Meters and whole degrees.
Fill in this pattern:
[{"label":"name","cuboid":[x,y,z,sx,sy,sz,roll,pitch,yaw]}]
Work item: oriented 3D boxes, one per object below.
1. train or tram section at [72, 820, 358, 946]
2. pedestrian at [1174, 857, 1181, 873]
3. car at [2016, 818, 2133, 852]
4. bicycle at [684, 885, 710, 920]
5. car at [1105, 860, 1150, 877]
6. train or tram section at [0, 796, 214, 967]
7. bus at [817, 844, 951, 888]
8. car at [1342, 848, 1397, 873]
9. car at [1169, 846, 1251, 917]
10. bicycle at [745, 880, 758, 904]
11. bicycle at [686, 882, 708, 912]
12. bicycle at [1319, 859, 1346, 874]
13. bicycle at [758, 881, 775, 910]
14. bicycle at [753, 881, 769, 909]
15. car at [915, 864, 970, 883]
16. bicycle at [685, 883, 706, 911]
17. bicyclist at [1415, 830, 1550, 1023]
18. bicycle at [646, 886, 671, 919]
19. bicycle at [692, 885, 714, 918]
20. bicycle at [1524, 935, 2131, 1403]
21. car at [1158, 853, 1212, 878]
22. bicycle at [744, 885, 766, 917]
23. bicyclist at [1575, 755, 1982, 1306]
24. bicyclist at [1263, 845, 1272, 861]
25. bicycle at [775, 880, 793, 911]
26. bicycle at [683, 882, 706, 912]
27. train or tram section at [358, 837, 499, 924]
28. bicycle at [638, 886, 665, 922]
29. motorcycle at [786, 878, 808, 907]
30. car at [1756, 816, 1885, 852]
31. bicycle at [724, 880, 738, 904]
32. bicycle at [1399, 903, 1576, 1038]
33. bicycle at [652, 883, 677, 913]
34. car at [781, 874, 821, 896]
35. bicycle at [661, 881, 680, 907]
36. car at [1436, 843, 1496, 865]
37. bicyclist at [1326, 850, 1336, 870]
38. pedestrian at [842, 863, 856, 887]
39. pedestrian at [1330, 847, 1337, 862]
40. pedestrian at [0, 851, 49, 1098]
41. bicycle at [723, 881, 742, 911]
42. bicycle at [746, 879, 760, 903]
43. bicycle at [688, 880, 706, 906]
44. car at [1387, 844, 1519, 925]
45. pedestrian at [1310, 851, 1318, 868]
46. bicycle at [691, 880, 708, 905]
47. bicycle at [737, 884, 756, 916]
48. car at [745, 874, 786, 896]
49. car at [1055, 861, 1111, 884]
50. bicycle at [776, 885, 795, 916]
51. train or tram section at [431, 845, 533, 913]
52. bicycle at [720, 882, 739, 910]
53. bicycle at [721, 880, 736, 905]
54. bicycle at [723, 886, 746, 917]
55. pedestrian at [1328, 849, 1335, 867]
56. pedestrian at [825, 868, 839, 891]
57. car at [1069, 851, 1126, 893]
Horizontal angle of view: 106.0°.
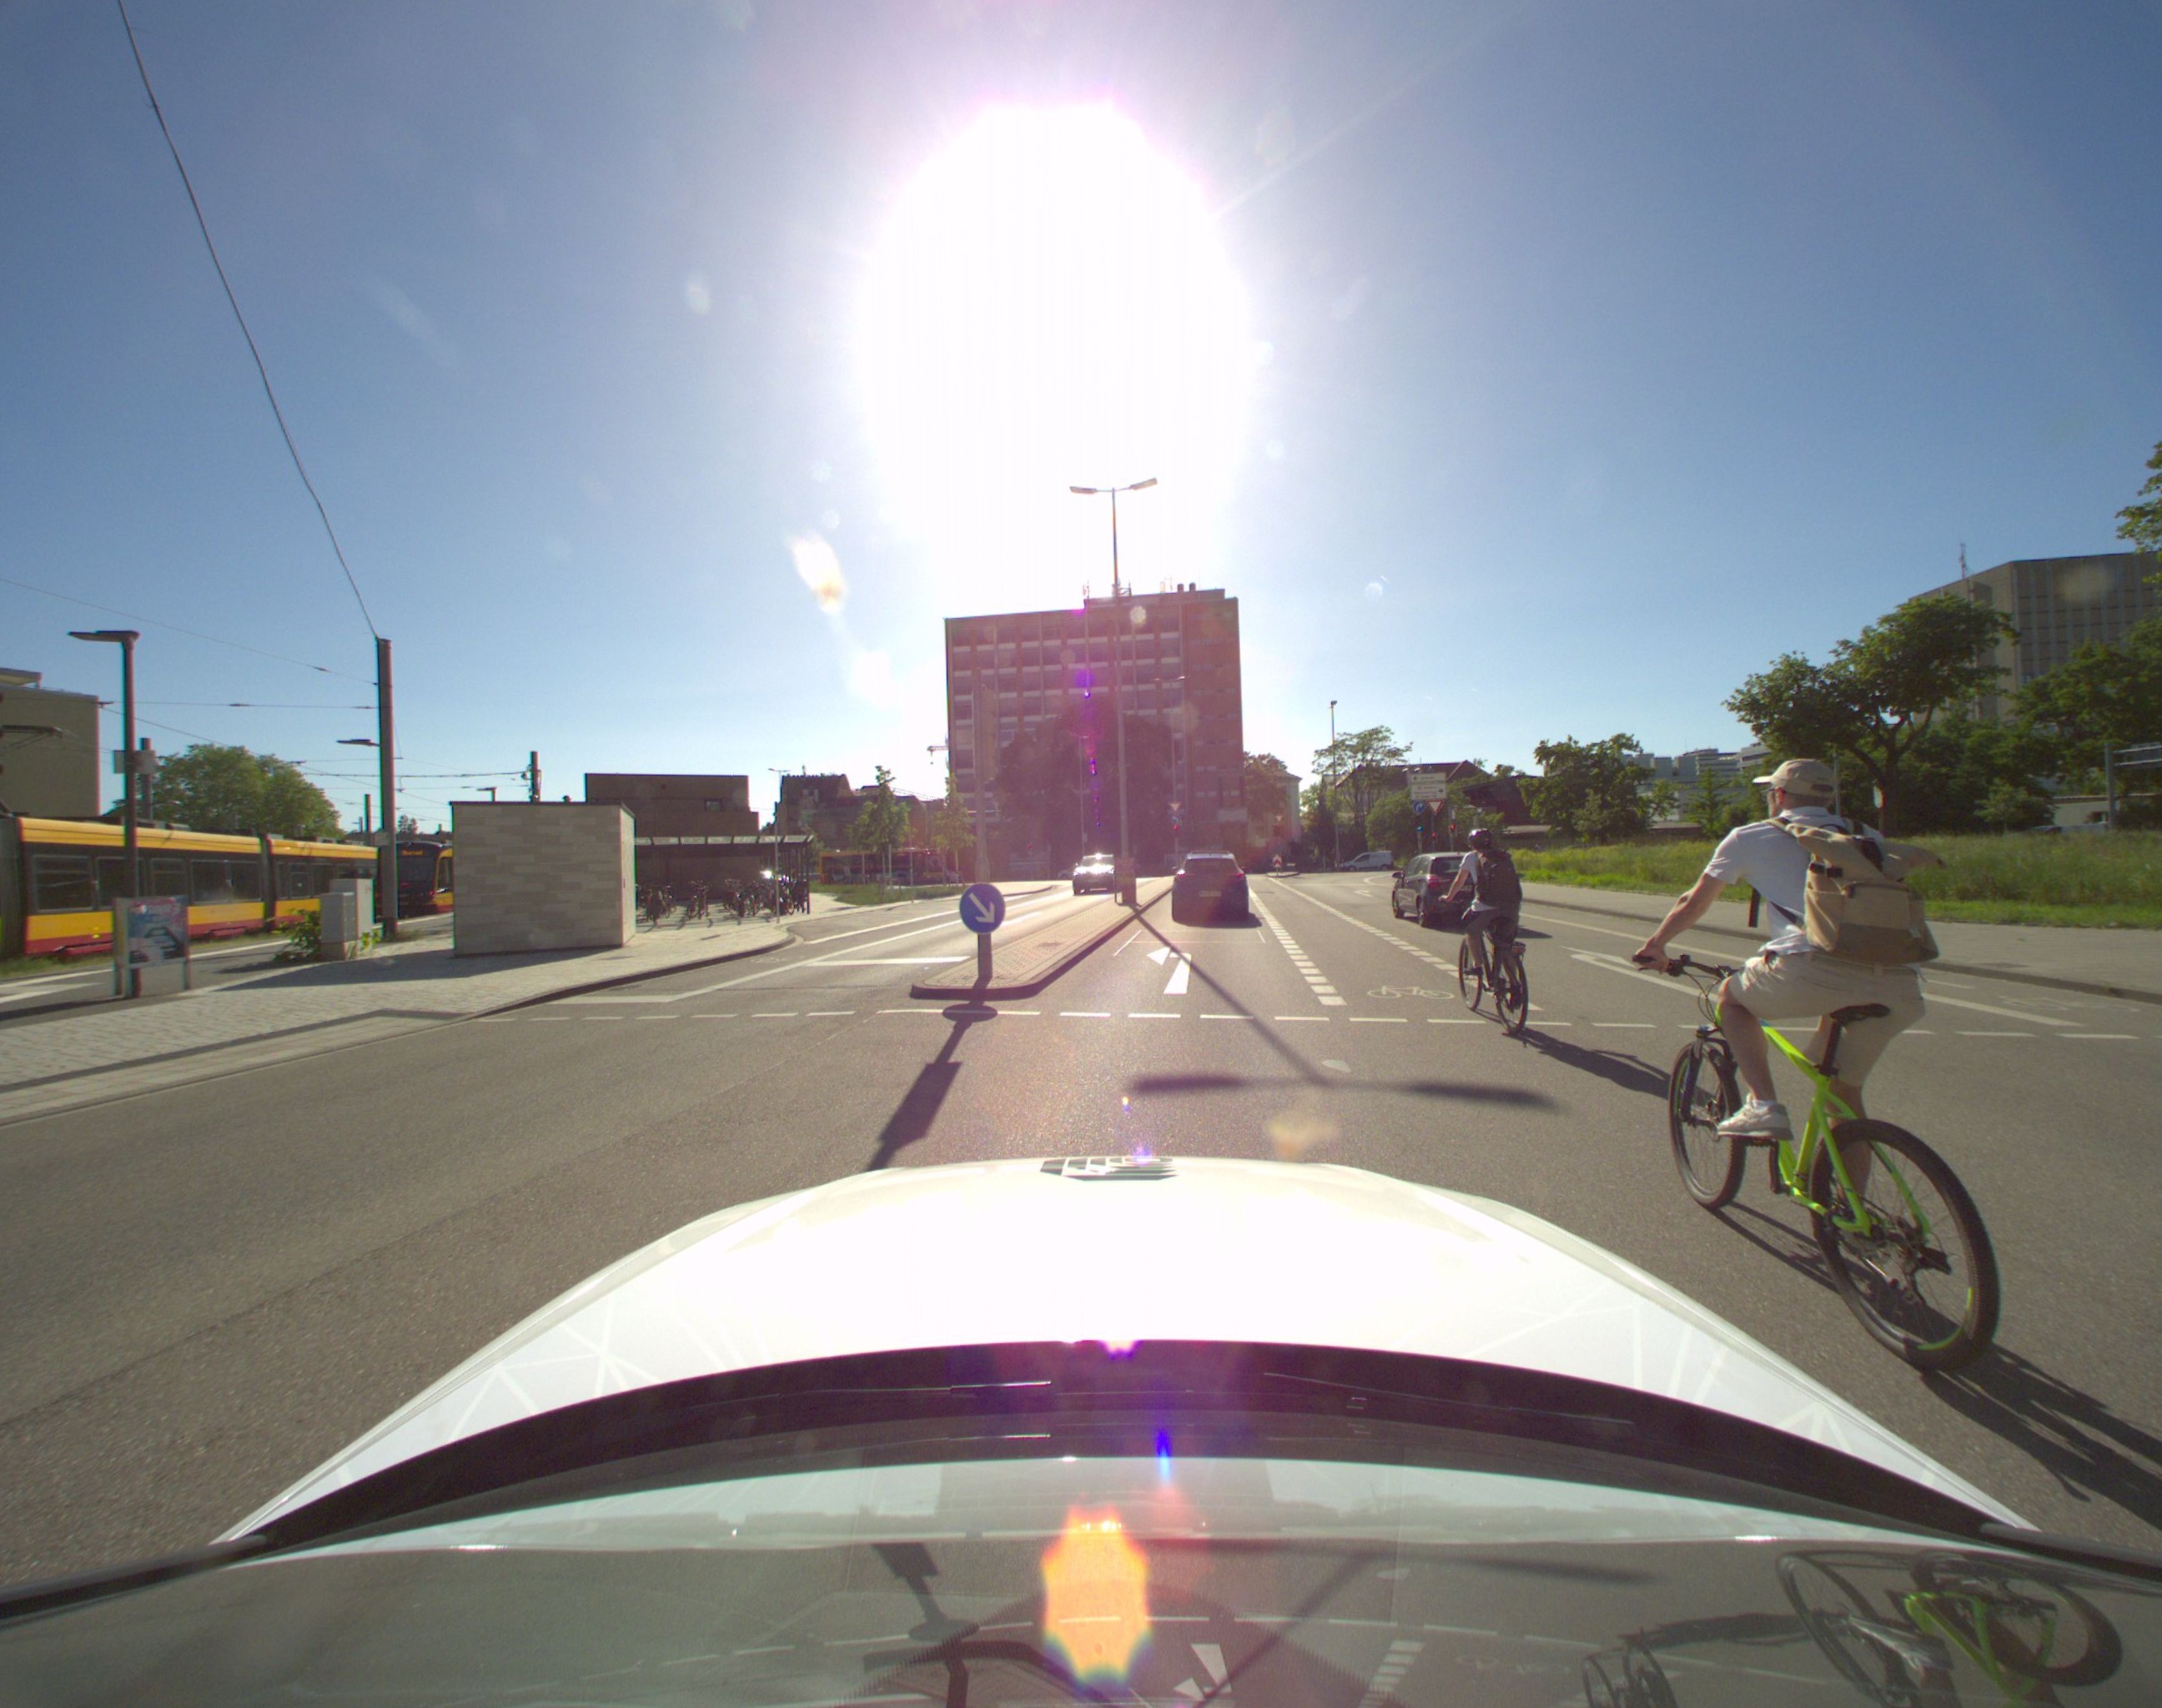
[{"label":"train or tram section","cuboid":[-29.196,0.909,28.393,2.830,3.508,11.117,0,-1,-25]},{"label":"pedestrian","cuboid":[9.968,1.147,84.036,0.555,1.670,0.479,-2,-2,25]},{"label":"car","cuboid":[71.606,-1.345,58.778,5.052,2.225,2.082,-2,0,15]},{"label":"bicycle","cuboid":[-12.057,1.510,25.600,0.582,1.058,1.803,0,-2,-20]},{"label":"car","cuboid":[4.427,1.395,78.052,3.862,1.586,1.889,-2,-2,20]},{"label":"train or tram section","cuboid":[-24.636,0.629,18.620,2.830,3.508,10.522,0,-1,-25]},{"label":"bus","cuboid":[-16.957,1.093,69.582,12.288,3.396,2.900,-2,-2,28]},{"label":"car","cuboid":[24.779,0.614,70.080,4.312,2.014,2.009,-2,-2,19]},{"label":"car","cuboid":[3.162,0.643,20.249,1.813,1.600,3.666,-1,-1,8]},{"label":"bicycle","cuboid":[-15.624,1.777,38.587,0.583,1.088,1.857,0,-2,-23]},{"label":"bicycle","cuboid":[-14.543,1.621,30.895,0.582,1.088,2.044,0,-2,-20]},{"label":"bicycle","cuboid":[24.227,1.213,78.477,2.431,1.370,0.855,-2,-2,18]},{"label":"bicycle","cuboid":[-12.270,1.606,31.778,0.582,1.088,2.044,0,-2,-20]},{"label":"bicycle","cuboid":[-13.267,1.692,33.796,0.582,1.088,2.002,0,-2,-20]},{"label":"car","cuboid":[-12.031,1.718,70.674,4.356,1.522,1.981,-2,-2,26]},{"label":"bicycle","cuboid":[-15.509,1.725,32.786,0.582,1.088,1.887,0,-2,-20]},{"label":"bicyclist","cuboid":[3.610,0.620,7.420,0.719,1.626,1.055,-1,-1,2]},{"label":"bicycle","cuboid":[-13.956,1.591,26.938,0.583,1.058,1.802,0,-2,-22]},{"label":"bicycle","cuboid":[-12.729,1.584,27.442,0.583,1.058,1.802,0,-2,-22]},{"label":"bicycle","cuboid":[2.557,0.959,3.174,0.660,1.047,1.891,-2,1,2]},{"label":"car","cuboid":[9.066,1.035,71.044,4.336,2.014,2.009,-2,-2,19]},{"label":"bicycle","cuboid":[-10.554,1.507,26.402,0.582,0.961,2.044,0,-2,-20]},{"label":"bicyclist","cuboid":[2.538,0.562,3.109,0.661,1.747,1.006,-2,1,2]},{"label":"bicyclist","cuboid":[21.424,-0.067,93.342,0.876,1.797,1.163,-1,-2,8]},{"label":"bicycle","cuboid":[-10.488,1.444,28.742,0.582,1.052,1.958,0,-2,-20]},{"label":"bicycle","cuboid":[-14.507,1.610,30.590,0.582,1.088,2.044,0,-2,-20]},{"label":"train or tram section","cuboid":[-30.300,1.177,38.407,2.886,3.508,10.452,-1,-1,-26]},{"label":"bicycle","cuboid":[-13.243,1.518,25.140,0.583,1.058,1.802,0,-2,-22]},{"label":"motorcycle","cuboid":[-11.792,1.597,33.816,0.554,1.177,1.903,0,-2,-29]},{"label":"car","cuboid":[56.320,-1.489,62.154,7.103,2.423,2.082,-2,0,13]},{"label":"bicycle","cuboid":[-16.510,1.773,38.430,0.583,1.088,1.857,0,-2,-22]},{"label":"bicycle","cuboid":[3.612,0.985,7.443,0.719,0.960,1.885,-1,-1,2]},{"label":"bicycle","cuboid":[-15.546,1.624,30.406,0.582,1.088,2.044,0,-2,-20]},{"label":"car","cuboid":[-27.394,3.029,79.654,3.949,2.014,2.023,-3,-3,42]},{"label":"bicycle","cuboid":[-17.925,1.723,35.616,0.583,1.088,1.857,0,-2,-22]},{"label":"car","cuboid":[30.400,0.009,64.408,4.079,1.586,1.889,-2,-2,21]},{"label":"bicyclist","cuboid":[24.142,0.610,78.523,0.849,1.846,0.855,-2,-2,18]},{"label":"pedestrian","cuboid":[-17.202,1.561,60.310,0.619,1.741,0.792,-2,-2,26]},{"label":"pedestrian","cuboid":[27.228,0.045,87.861,0.572,1.670,0.565,-2,-2,20]},{"label":"pedestrian","cuboid":[-8.595,0.922,6.017,0.903,1.850,0.758,-1,1,-24]},{"label":"bicycle","cuboid":[-13.438,1.617,31.449,0.582,1.088,2.044,0,-2,-20]},{"label":"bicycle","cuboid":[-15.632,1.746,38.829,0.583,1.088,1.857,0,-2,-22]},{"label":"bicycle","cuboid":[-16.961,1.717,36.000,0.583,1.088,1.857,0,-2,-22]},{"label":"car","cuboid":[7.878,0.633,17.612,1.745,1.542,3.669,-1,-1,11]},{"label":"pedestrian","cuboid":[22.401,0.520,78.275,0.555,1.670,0.479,-2,-2,25]},{"label":"bicycle","cuboid":[-17.695,1.774,37.784,0.583,1.088,1.857,0,-2,-22]},{"label":"bicycle","cuboid":[-11.580,1.585,28.160,0.583,1.058,1.802,0,-2,-22]},{"label":"car","cuboid":[-29.725,2.914,76.762,3.949,2.014,2.023,-3,-3,42]},{"label":"car","cuboid":[0.179,1.716,74.665,4.612,2.014,2.009,-2,-2,19]},{"label":"bicycle","cuboid":[-9.736,1.505,26.828,0.582,0.961,2.044,0,-2,-20]},{"label":"train or tram section","cuboid":[-34.804,1.432,47.778,2.886,3.508,10.452,-1,-1,-26]},{"label":"bicycle","cuboid":[-14.398,1.701,33.388,0.582,1.088,1.915,0,-2,-20]},{"label":"bicycle","cuboid":[-15.821,1.713,36.546,0.583,1.088,1.857,0,-2,-23]},{"label":"bicycle","cuboid":[-11.136,1.511,26.185,0.582,0.961,2.044,0,-2,-20]},{"label":"pedestrian","cuboid":[23.404,0.401,76.051,0.551,1.670,0.479,-2,-2,25]},{"label":"pedestrian","cuboid":[-18.903,1.930,61.778,0.647,1.741,0.792,-2,-2,26]},{"label":"car","cuboid":[0.790,0.734,35.167,1.807,1.568,4.261,-4,0,9]}]
